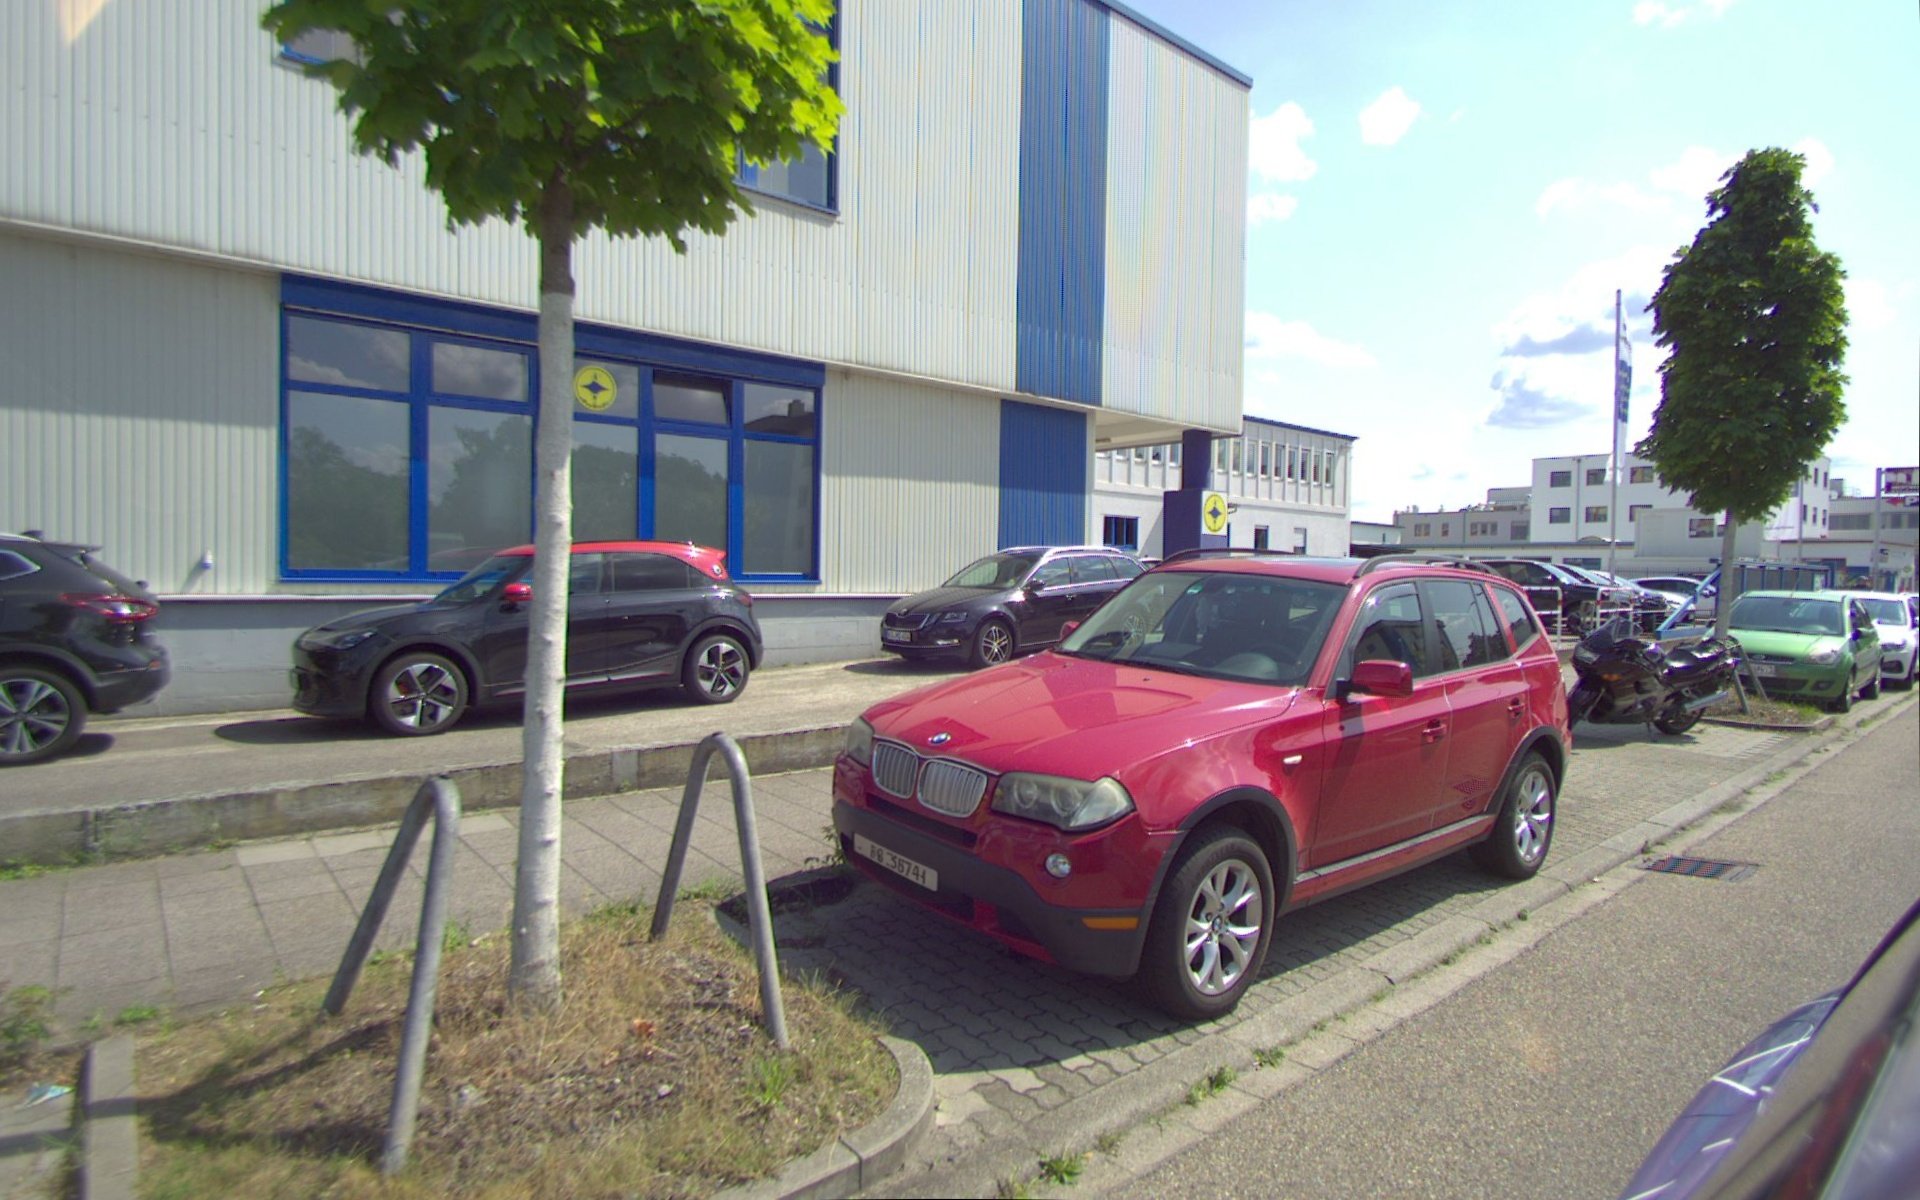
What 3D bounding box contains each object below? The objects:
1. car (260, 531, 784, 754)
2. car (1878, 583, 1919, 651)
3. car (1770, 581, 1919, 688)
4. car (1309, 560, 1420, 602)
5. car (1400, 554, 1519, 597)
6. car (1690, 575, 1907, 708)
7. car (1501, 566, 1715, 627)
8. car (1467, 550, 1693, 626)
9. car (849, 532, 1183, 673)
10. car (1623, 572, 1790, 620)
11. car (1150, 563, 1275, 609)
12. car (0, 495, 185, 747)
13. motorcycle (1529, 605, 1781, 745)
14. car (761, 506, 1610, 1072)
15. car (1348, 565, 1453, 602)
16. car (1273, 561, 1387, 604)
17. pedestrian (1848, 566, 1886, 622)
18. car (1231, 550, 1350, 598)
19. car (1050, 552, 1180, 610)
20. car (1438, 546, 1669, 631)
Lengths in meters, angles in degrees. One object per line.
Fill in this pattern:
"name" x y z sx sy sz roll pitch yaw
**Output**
"car" -4.060 0.218 9.763 4.216 1.677 1.997 -3 3 -41
"car" 24.466 0.373 25.228 4.519 1.539 1.870 -2 1 -41
"car" 15.449 0.485 17.247 4.385 1.539 1.838 -2 1 -41
"car" 17.017 -0.808 42.723 1.775 1.712 3.994 -1 1 -41
"car" 24.206 -1.161 49.189 2.235 1.961 4.690 -1 1 -38
"car" 11.571 0.452 13.881 3.926 1.539 1.671 -2 1 -41
"car" 16.683 -0.154 26.209 1.965 1.437 4.288 -1 2 -40
"car" 14.837 -0.307 24.383 2.111 1.667 4.232 -1 1 -42
"car" 0.899 -0.083 13.878 4.562 1.530 1.831 -5 4 -41
"car" 24.034 -0.192 32.668 1.965 1.437 3.996 -1 2 -40
"car" 8.953 -0.517 36.093 1.901 1.527 3.994 -1 2 -41
"car" -7.777 0.166 6.659 4.142 1.672 1.717 -3 2 -41
"motorcycle" 6.824 0.679 9.935 2.313 1.215 0.860 -1 1 -20
"car" 1.476 0.499 5.137 4.595 1.671 1.758 -2 1 -40
"car" 19.542 -0.765 45.067 1.830 1.504 3.896 -2 3 -36
"car" 14.973 -0.737 41.081 1.775 1.650 3.994 -1 1 -41
"pedestrian" 29.379 -0.217 32.770 0.773 1.778 0.771 -1 3 -41
"car" 12.726 -0.997 39.094 1.901 1.723 3.994 -1 1 -41
"car" 5.042 -0.628 33.243 1.775 1.761 4.065 -1 1 -41
"car" 13.239 -0.275 22.739 1.966 1.707 4.090 -1 1 -42
